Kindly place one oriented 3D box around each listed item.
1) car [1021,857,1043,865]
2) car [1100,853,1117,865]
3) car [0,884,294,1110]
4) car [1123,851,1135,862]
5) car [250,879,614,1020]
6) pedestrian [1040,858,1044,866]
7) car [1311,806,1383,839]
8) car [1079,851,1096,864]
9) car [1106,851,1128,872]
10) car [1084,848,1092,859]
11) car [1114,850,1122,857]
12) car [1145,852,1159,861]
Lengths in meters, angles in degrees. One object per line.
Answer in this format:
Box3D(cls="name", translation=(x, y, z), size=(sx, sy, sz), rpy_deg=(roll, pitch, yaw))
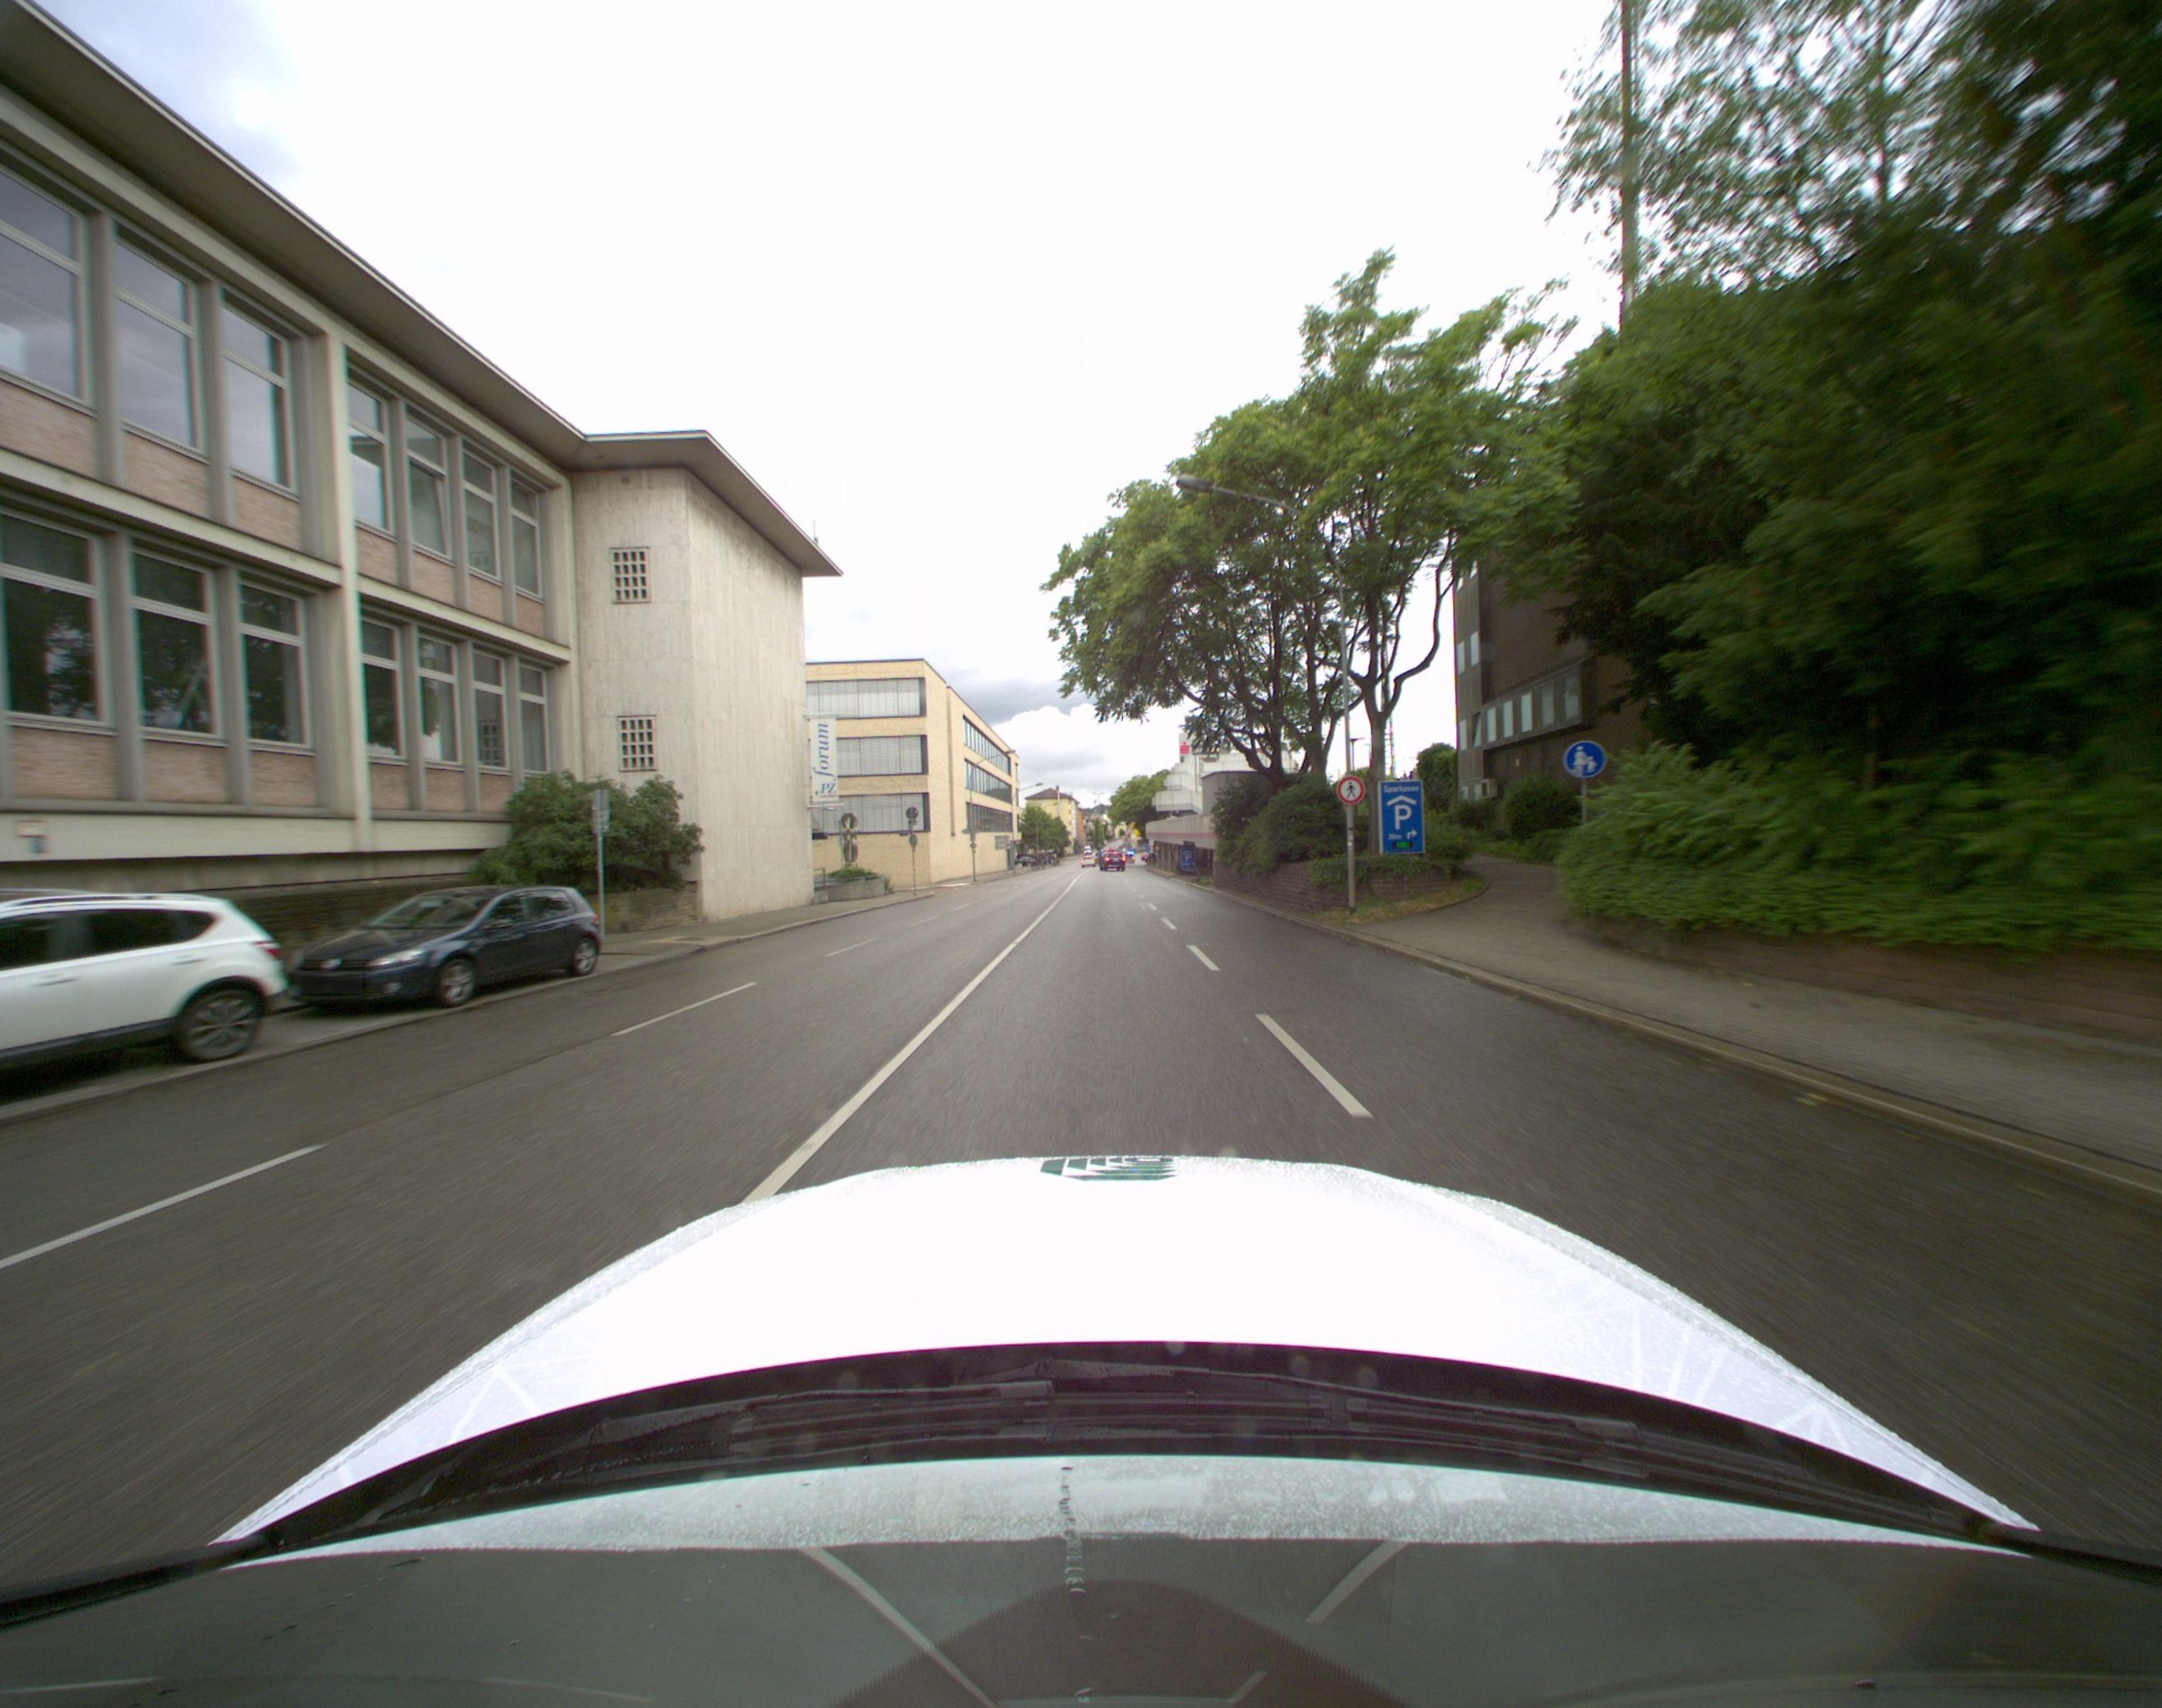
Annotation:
Box3D(cls="car", translation=(-8.136, 1.229, 136.367), size=(3.648, 1.235, 1.439), rpy_deg=(-1, 0, -4))
Box3D(cls="car", translation=(3.857, 0.710, 115.848), size=(1.989, 1.680, 3.995), rpy_deg=(-1, 0, -3))
Box3D(cls="car", translation=(-8.972, 1.115, 6.236), size=(1.741, 1.597, 4.182), rpy_deg=(0, 0, 1))
Box3D(cls="car", translation=(8.652, 0.454, 147.177), size=(2.164, 2.004, 4.003), rpy_deg=(-2, 0, 3))
Box3D(cls="car", translation=(-8.695, 1.172, 11.496), size=(1.742, 1.480, 4.181), rpy_deg=(0, 0, 0))
Box3D(cls="pedestrian", translation=(-6.416, 1.286, 134.575), size=(0.450, 1.278, 0.456), rpy_deg=(-2, 0, 12))
Box3D(cls="car", translation=(15.008, -1.782, 46.091), size=(3.601, 1.706, 1.645), rpy_deg=(-1, 0, 9))
Box3D(cls="car", translation=(0.898, 0.484, 108.014), size=(1.989, 1.680, 3.995), rpy_deg=(-1, 0, -3))
Box3D(cls="car", translation=(3.480, 0.733, 79.247), size=(2.083, 1.911, 4.102), rpy_deg=(-1, 0, 2))
Box3D(cls="car", translation=(1.974, -0.209, 241.654), size=(2.178, 3.098, 4.926), rpy_deg=(-1, 0, -2))
Box3D(cls="car", translation=(10.349, -0.194, 228.494), size=(1.988, 1.679, 3.998), rpy_deg=(-2, 1, -1))
Box3D(cls="car", translation=(13.847, 0.466, 158.077), size=(1.979, 1.680, 4.016), rpy_deg=(-2, 0, 15))
